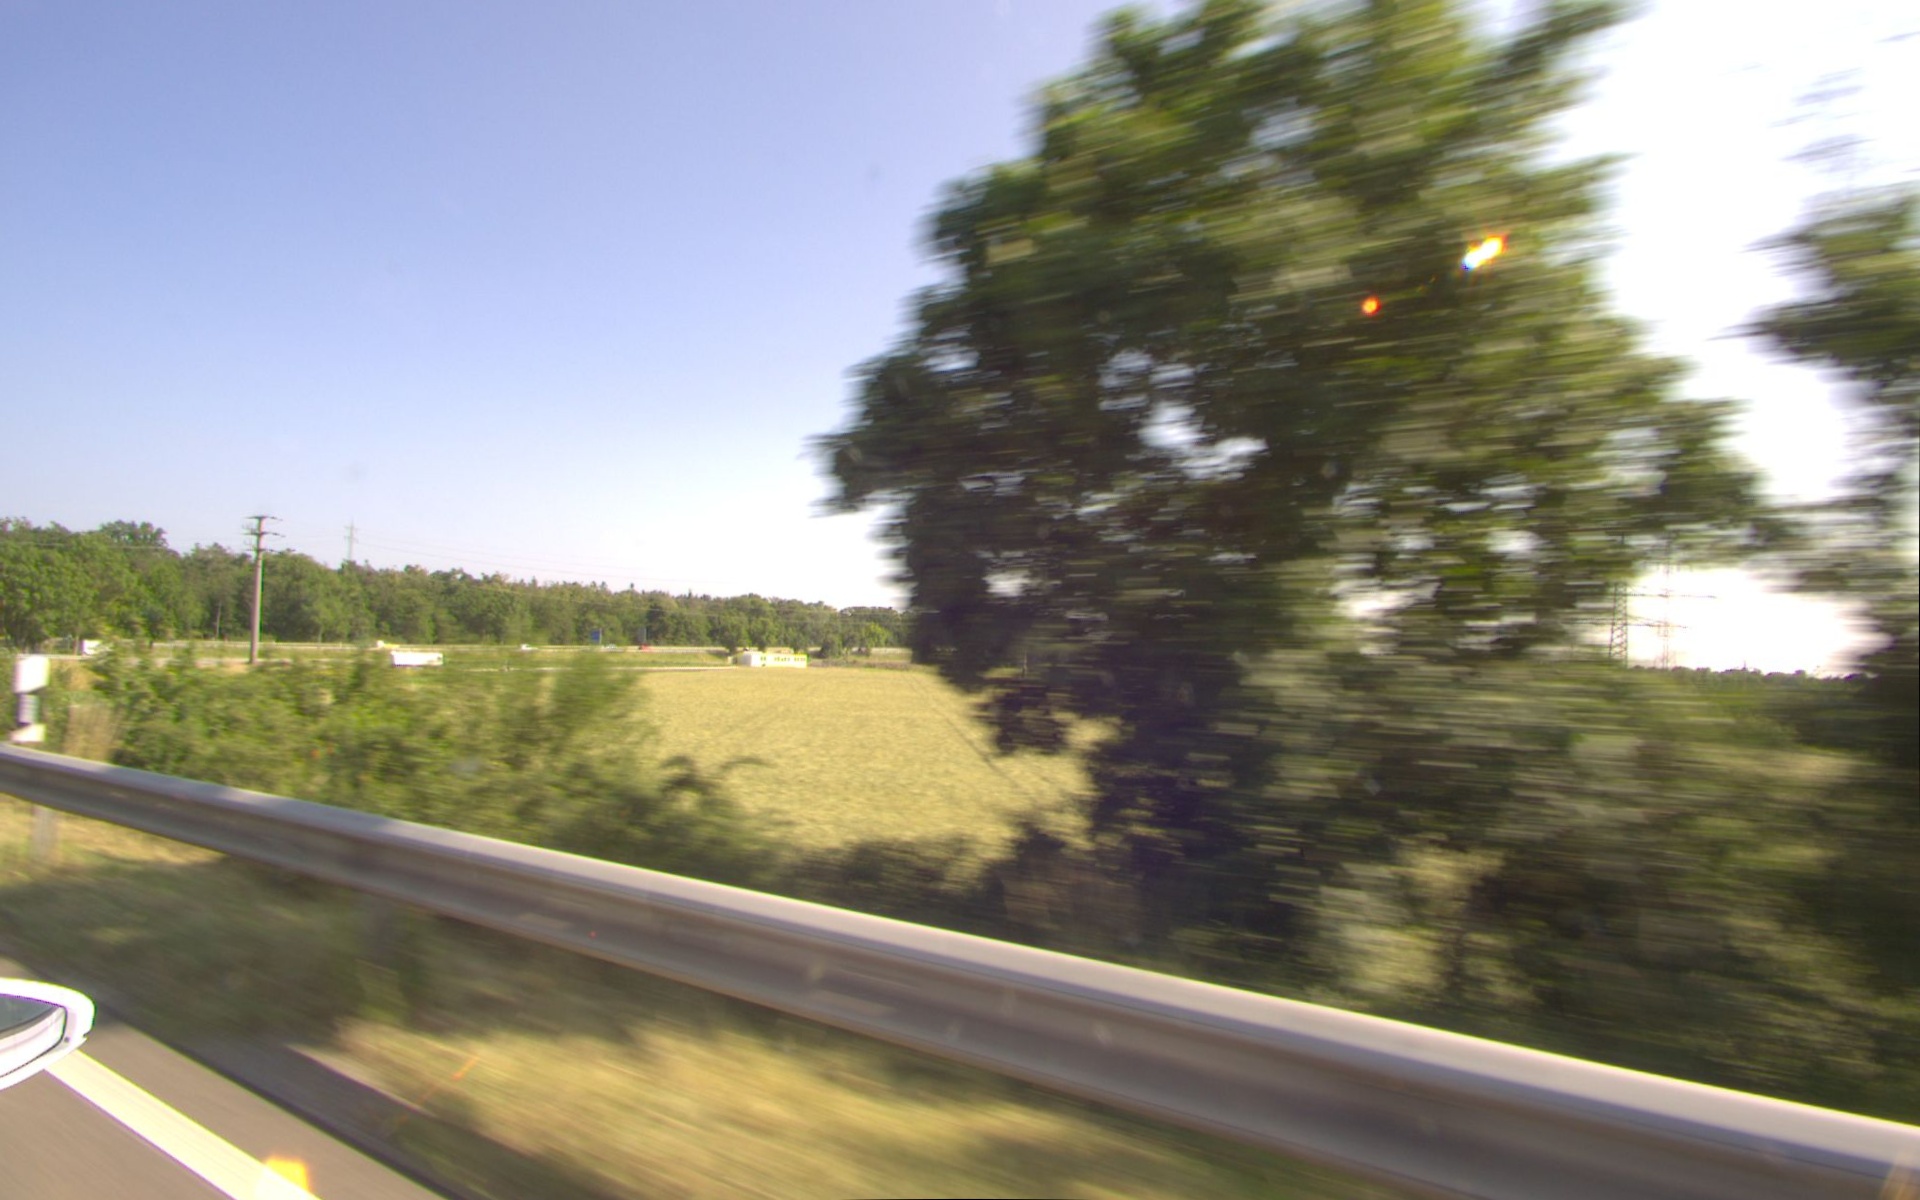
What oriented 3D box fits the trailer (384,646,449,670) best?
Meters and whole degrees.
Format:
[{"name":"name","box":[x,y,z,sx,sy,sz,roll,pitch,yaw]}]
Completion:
[{"name":"trailer","box":[-69.877,7.445,128.892,6.743,2.703,2.866,6,-4,-43]}]
